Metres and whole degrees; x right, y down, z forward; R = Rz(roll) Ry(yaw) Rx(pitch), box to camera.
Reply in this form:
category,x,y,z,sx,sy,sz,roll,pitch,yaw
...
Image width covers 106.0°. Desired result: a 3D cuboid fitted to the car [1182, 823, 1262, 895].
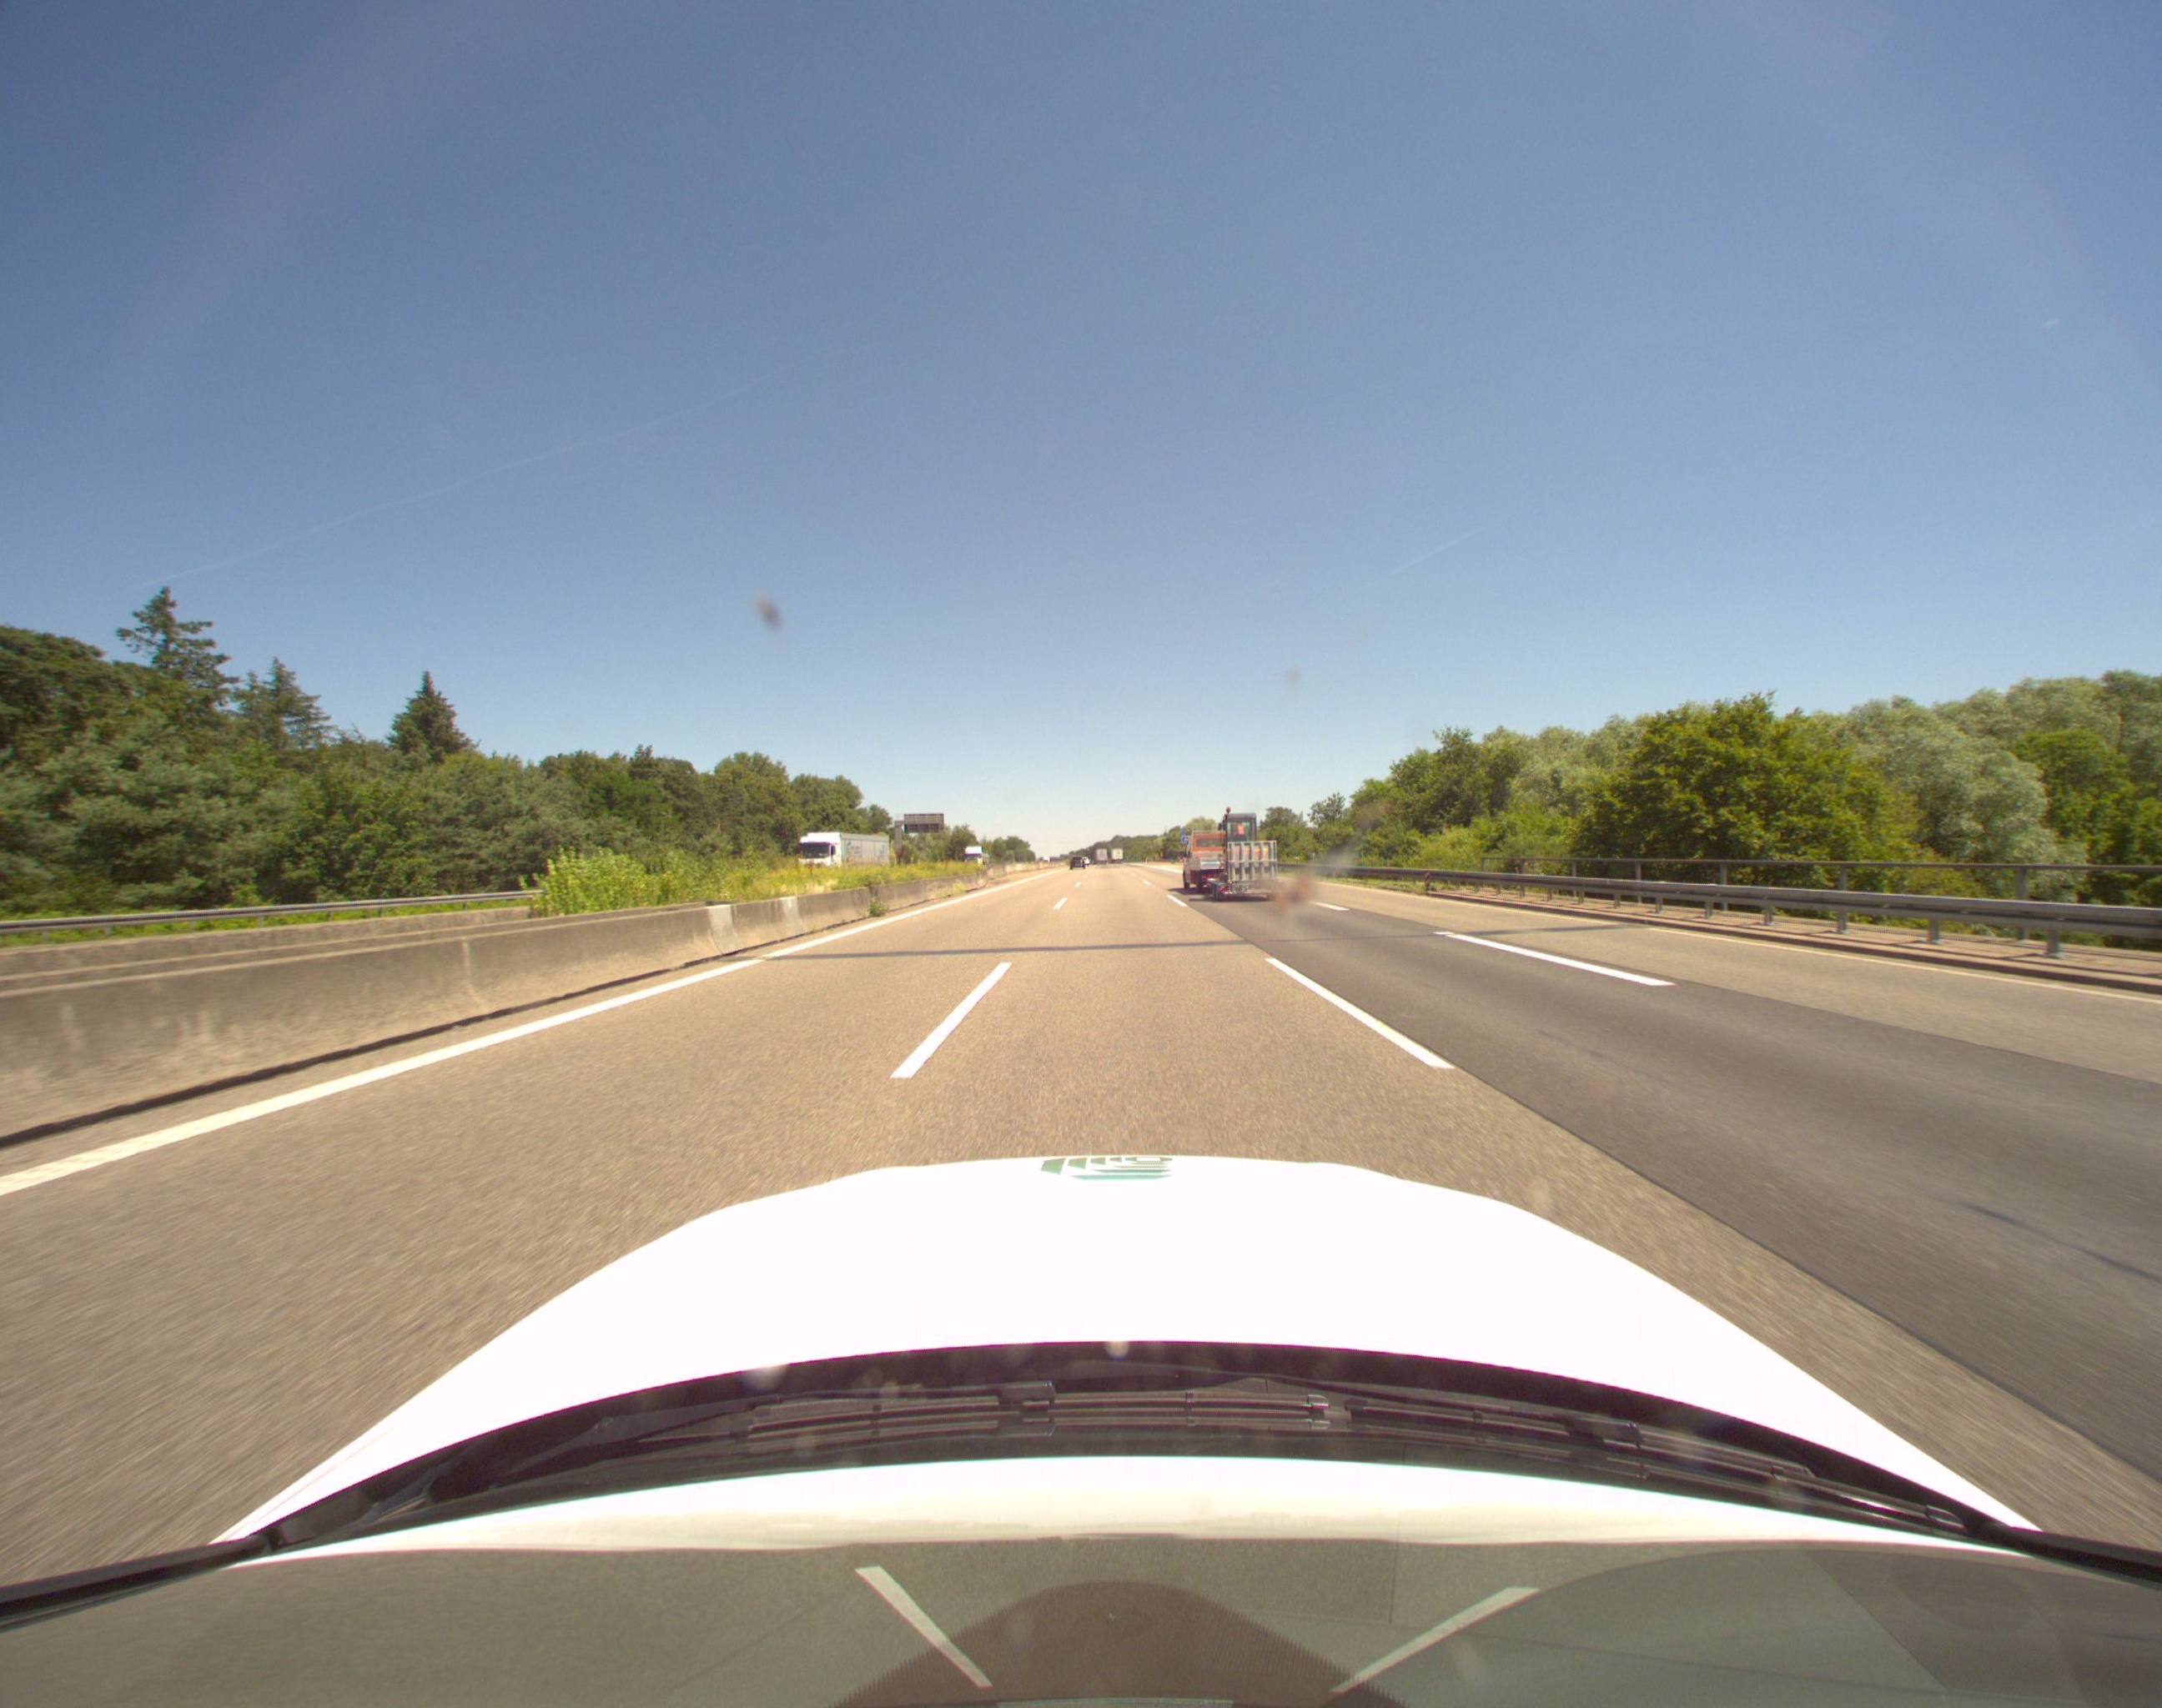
category,x,y,z,sx,sy,sz,roll,pitch,yaw
car,5.272,0.169,31.493,1.986,2.405,7.228,-2,0,2

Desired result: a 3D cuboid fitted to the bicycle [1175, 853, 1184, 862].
category,x,y,z,sx,sy,sz,roll,pitch,yaw
bicycle,12.749,0.423,105.242,0.954,1.157,2.614,1,0,10

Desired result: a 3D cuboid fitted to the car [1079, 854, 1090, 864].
category,x,y,z,sx,sy,sz,roll,pitch,yaw
car,0.663,0.978,153.992,1.986,1.874,4.001,-1,0,1

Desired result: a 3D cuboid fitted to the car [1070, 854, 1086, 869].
category,x,y,z,sx,sy,sz,roll,pitch,yaw
car,-0.387,0.934,106.522,1.986,1.874,4.001,-2,0,1

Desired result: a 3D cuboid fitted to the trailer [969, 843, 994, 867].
category,x,y,z,sx,sy,sz,roll,pitch,yaw
trailer,-17.126,0.209,140.573,2.798,4.047,10.430,1,0,0

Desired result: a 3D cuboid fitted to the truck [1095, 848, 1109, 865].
category,x,y,z,sx,sy,sz,roll,pitch,yaw
truck,5.208,0.573,204.576,3.218,4.202,8.465,0,0,0

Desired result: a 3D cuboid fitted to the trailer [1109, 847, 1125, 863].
category,x,y,z,sx,sy,sz,roll,pitch,yaw
trailer,9.527,0.195,215.832,3.361,4.143,9.078,1,0,-4

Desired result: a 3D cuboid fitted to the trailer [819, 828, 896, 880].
category,x,y,z,sx,sy,sz,roll,pitch,yaw
trailer,-19.088,-0.027,70.487,2.973,4.076,11.779,-2,0,2

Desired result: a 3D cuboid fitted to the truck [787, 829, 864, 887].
category,x,y,z,sx,sy,sz,roll,pitch,yaw
truck,-19.318,0.274,62.302,2.973,4.076,8.196,-2,0,2

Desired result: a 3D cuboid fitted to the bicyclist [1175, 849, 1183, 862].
category,x,y,z,sx,sy,sz,roll,pitch,yaw
bicyclist,12.628,0.188,105.176,0.954,1.595,0.809,1,0,9

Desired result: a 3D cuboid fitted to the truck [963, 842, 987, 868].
category,x,y,z,sx,sy,sz,roll,pitch,yaw
truck,-17.175,0.194,132.709,2.797,4.047,7.731,1,0,1

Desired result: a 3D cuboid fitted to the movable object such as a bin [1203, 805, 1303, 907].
category,x,y,z,sx,sy,sz,roll,pitch,yaw
movable object such as a bin,5.223,0.067,25.455,2.166,2.815,4.762,-2,0,1
